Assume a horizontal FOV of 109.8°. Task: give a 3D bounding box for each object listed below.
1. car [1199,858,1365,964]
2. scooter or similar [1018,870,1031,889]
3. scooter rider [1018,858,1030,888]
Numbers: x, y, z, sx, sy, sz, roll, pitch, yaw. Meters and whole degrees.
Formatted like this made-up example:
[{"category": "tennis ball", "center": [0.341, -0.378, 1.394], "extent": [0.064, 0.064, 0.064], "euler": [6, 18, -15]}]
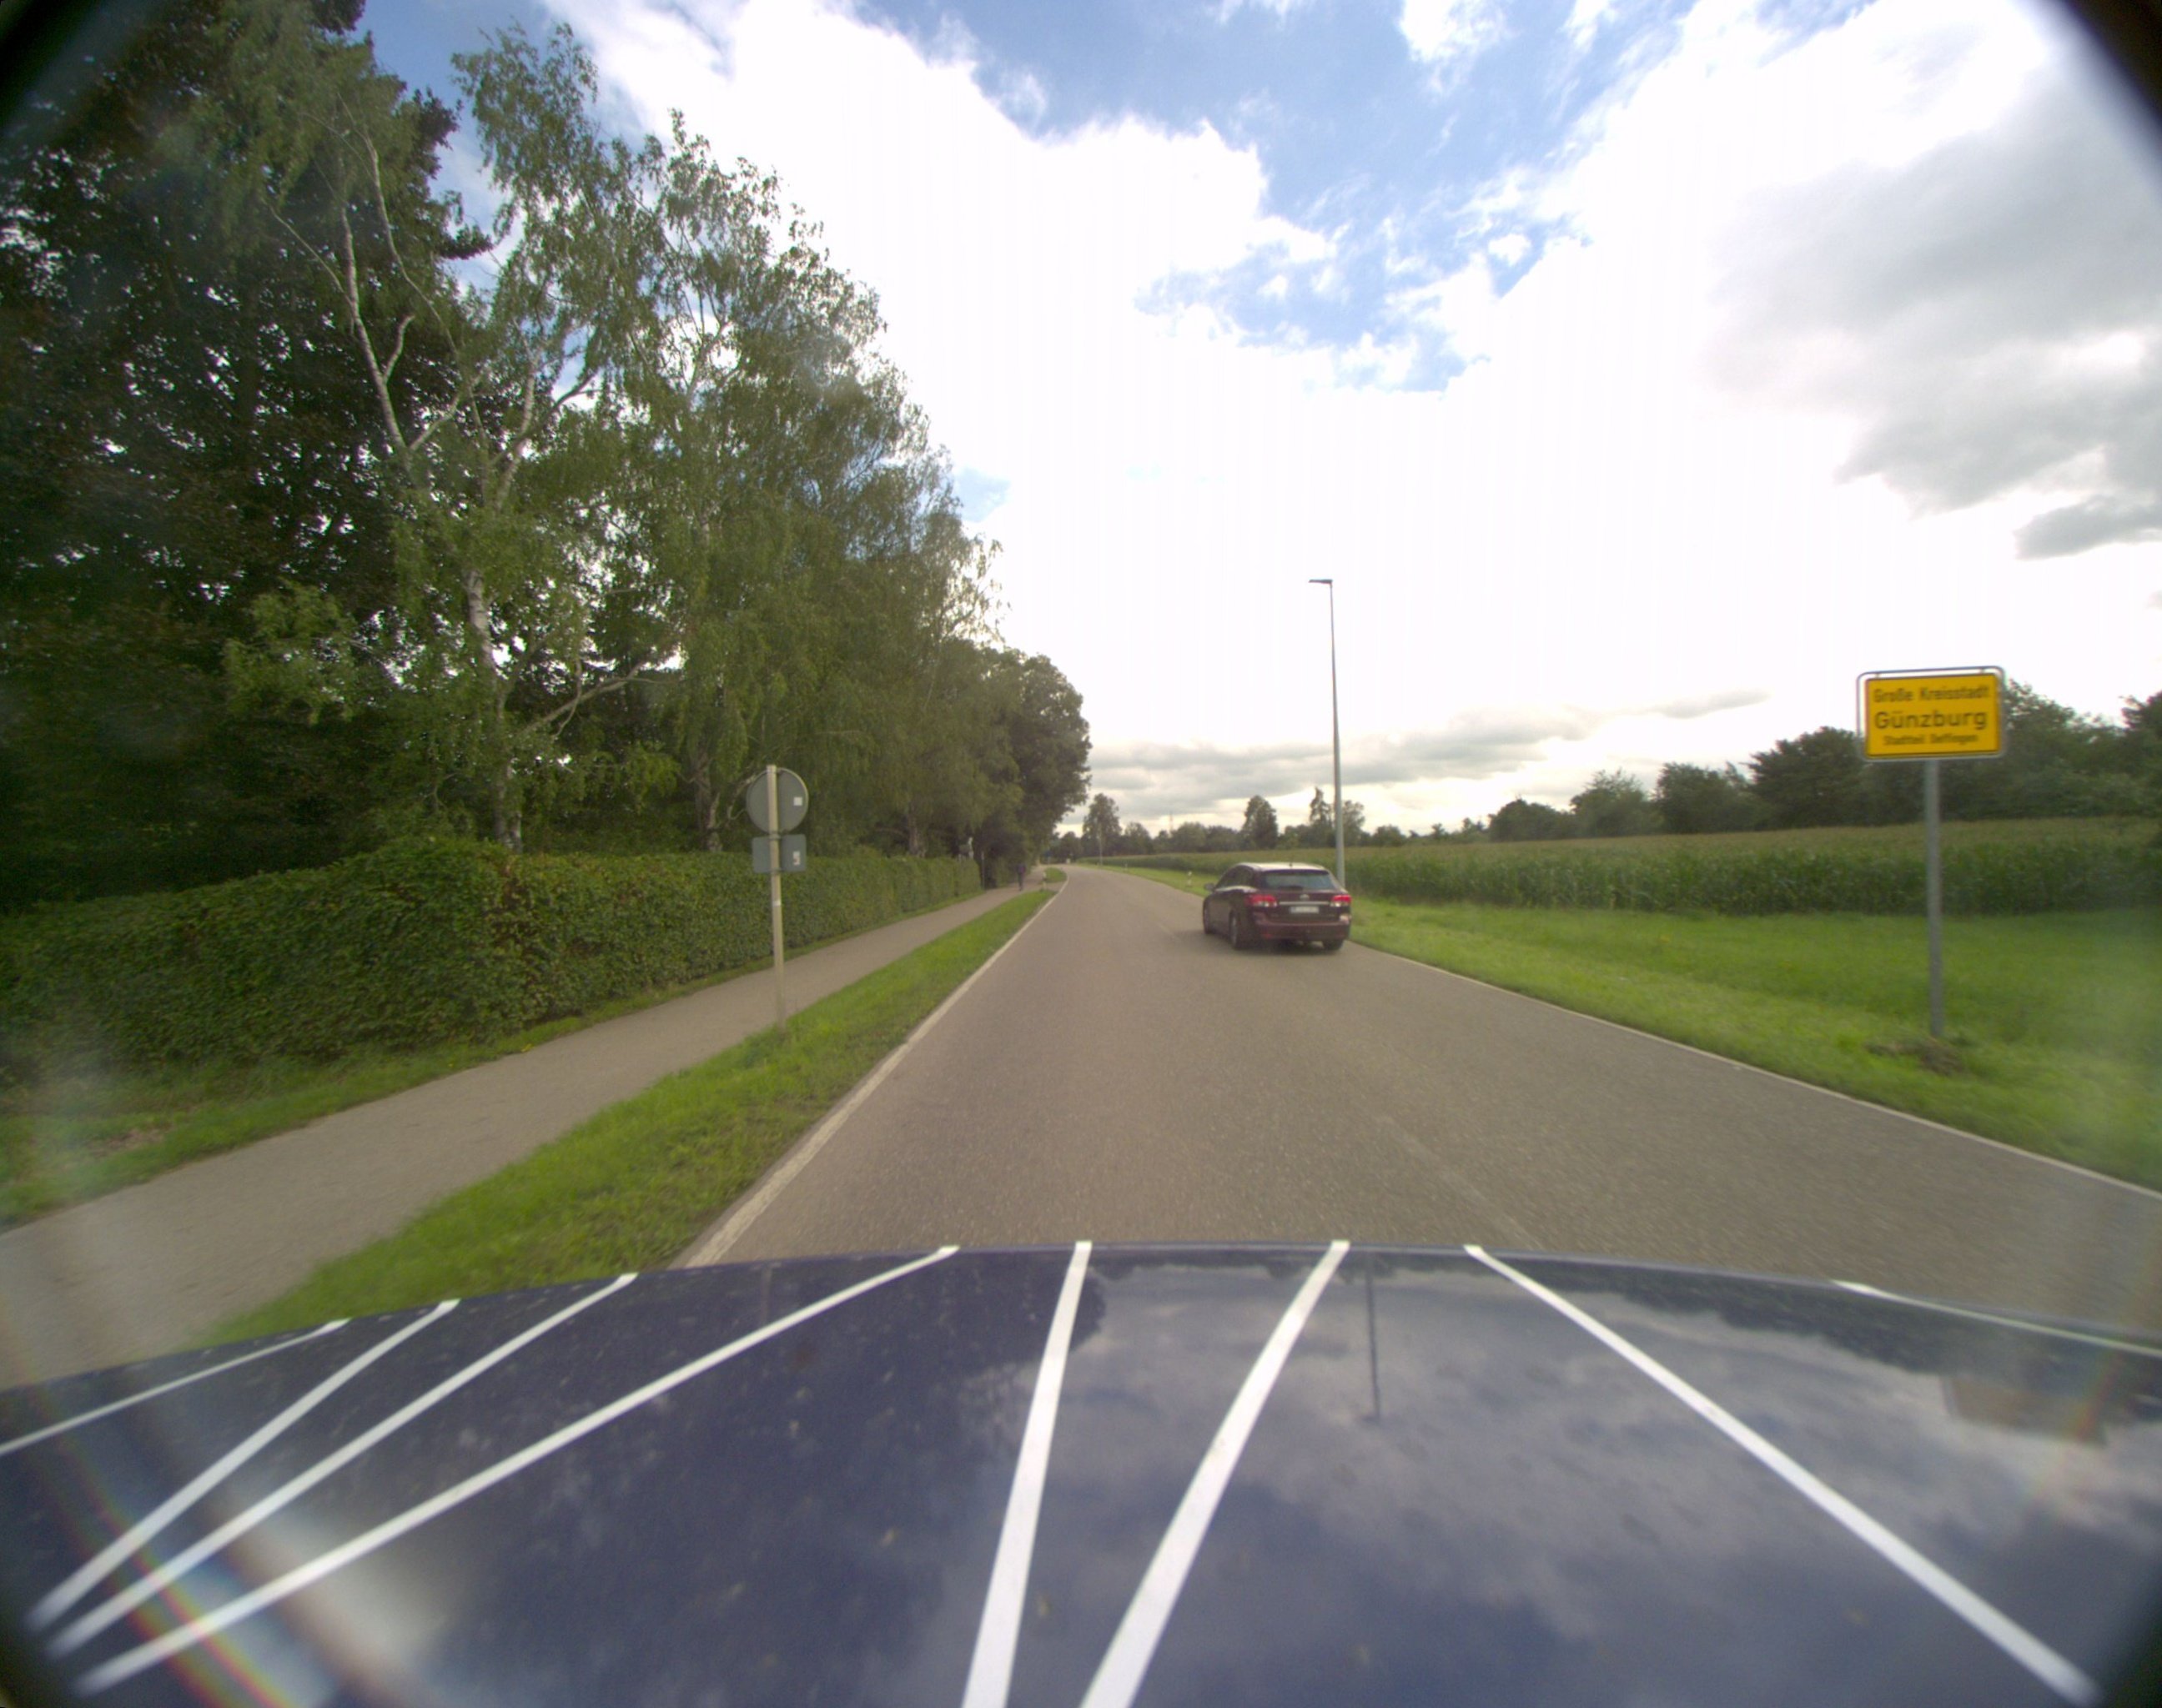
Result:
[{"category": "car", "center": [3.323, 0.864, 13.437], "extent": [1.869, 1.543, 4.182], "euler": [0, 0, 0]}, {"category": "scooter or similar", "center": [-3.722, 1.662, 50.043], "extent": [0.650, 1.157, 1.695], "euler": [-3, 0, 1]}, {"category": "scooter rider", "center": [-3.777, 1.256, 50.081], "extent": [0.644, 1.954, 0.786], "euler": [-3, 1, 0]}]
